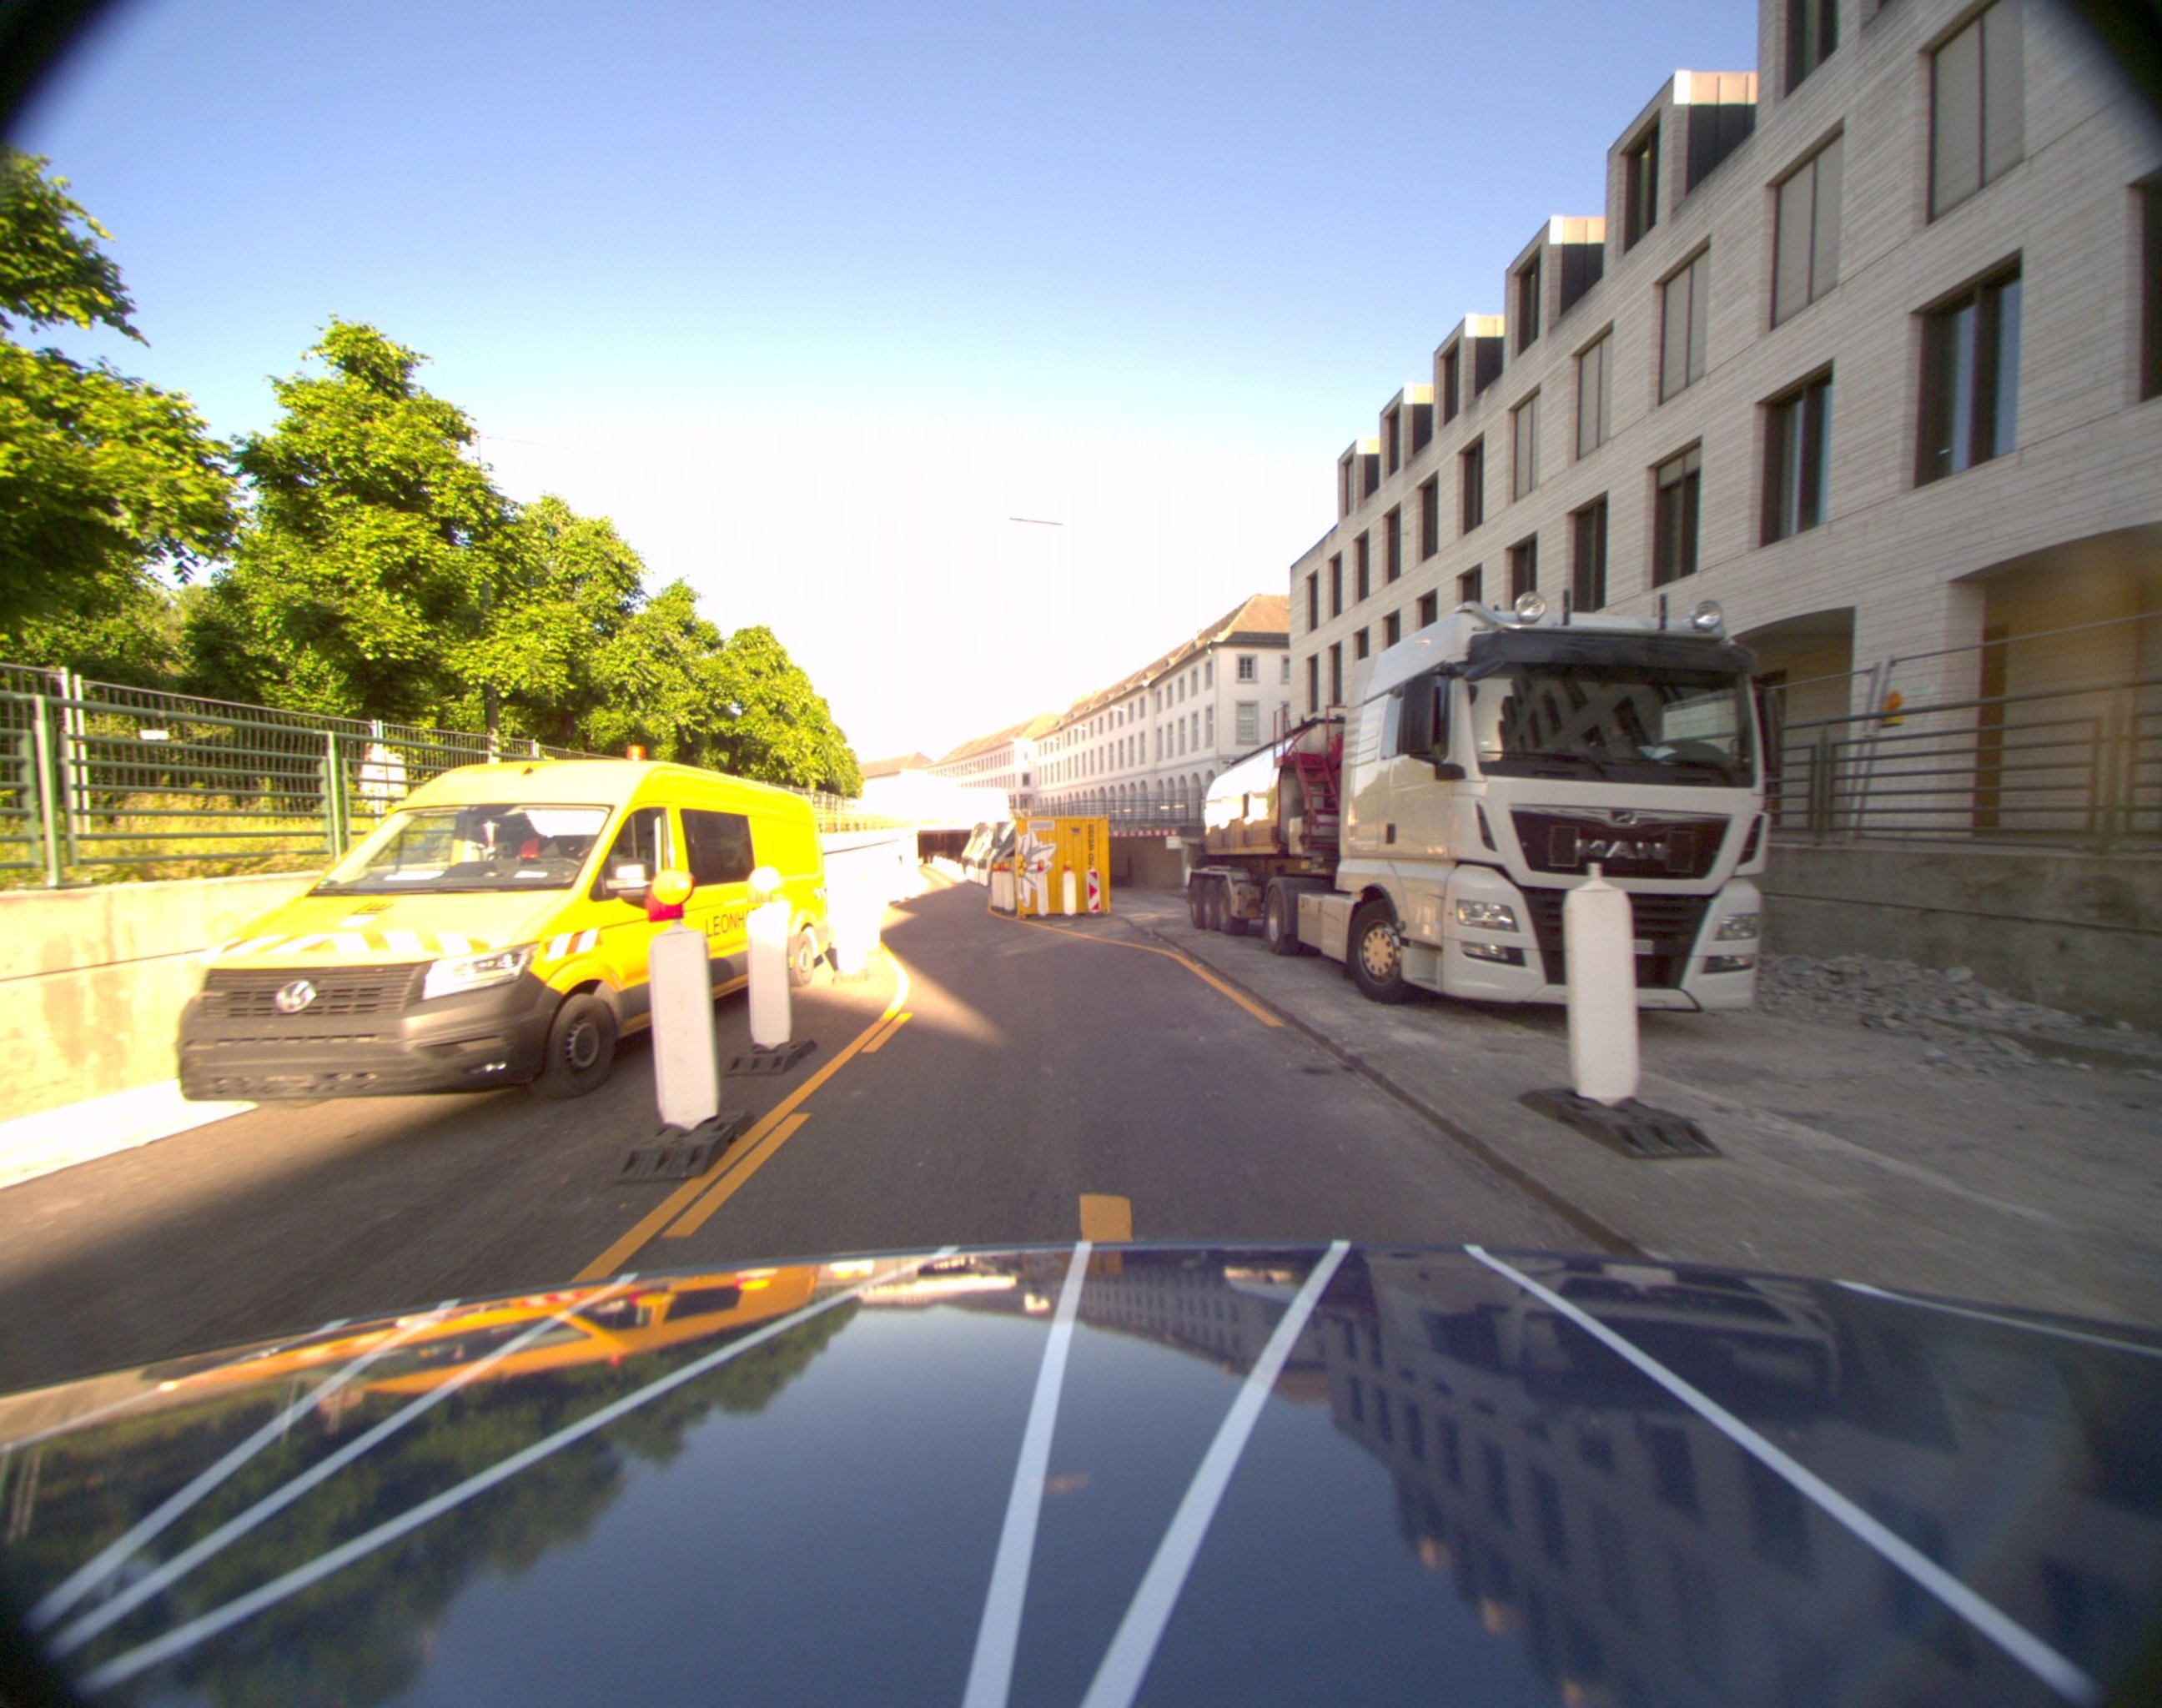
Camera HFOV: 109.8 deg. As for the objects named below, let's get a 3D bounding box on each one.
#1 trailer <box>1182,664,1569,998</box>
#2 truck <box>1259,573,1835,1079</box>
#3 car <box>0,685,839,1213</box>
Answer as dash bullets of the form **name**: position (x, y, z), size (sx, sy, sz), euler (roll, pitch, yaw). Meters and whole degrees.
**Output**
- **trailer**: position (3.912, -0.248, 12.911), size (2.649, 3.647, 8.745), euler (2, 0, -3)
- **truck**: position (3.960, -0.191, 8.268), size (2.586, 3.469, 5.815), euler (2, 0, 0)
- **car**: position (-4.464, 0.459, 7.320), size (2.117, 2.609, 6.985), euler (-1, 0, -1)
